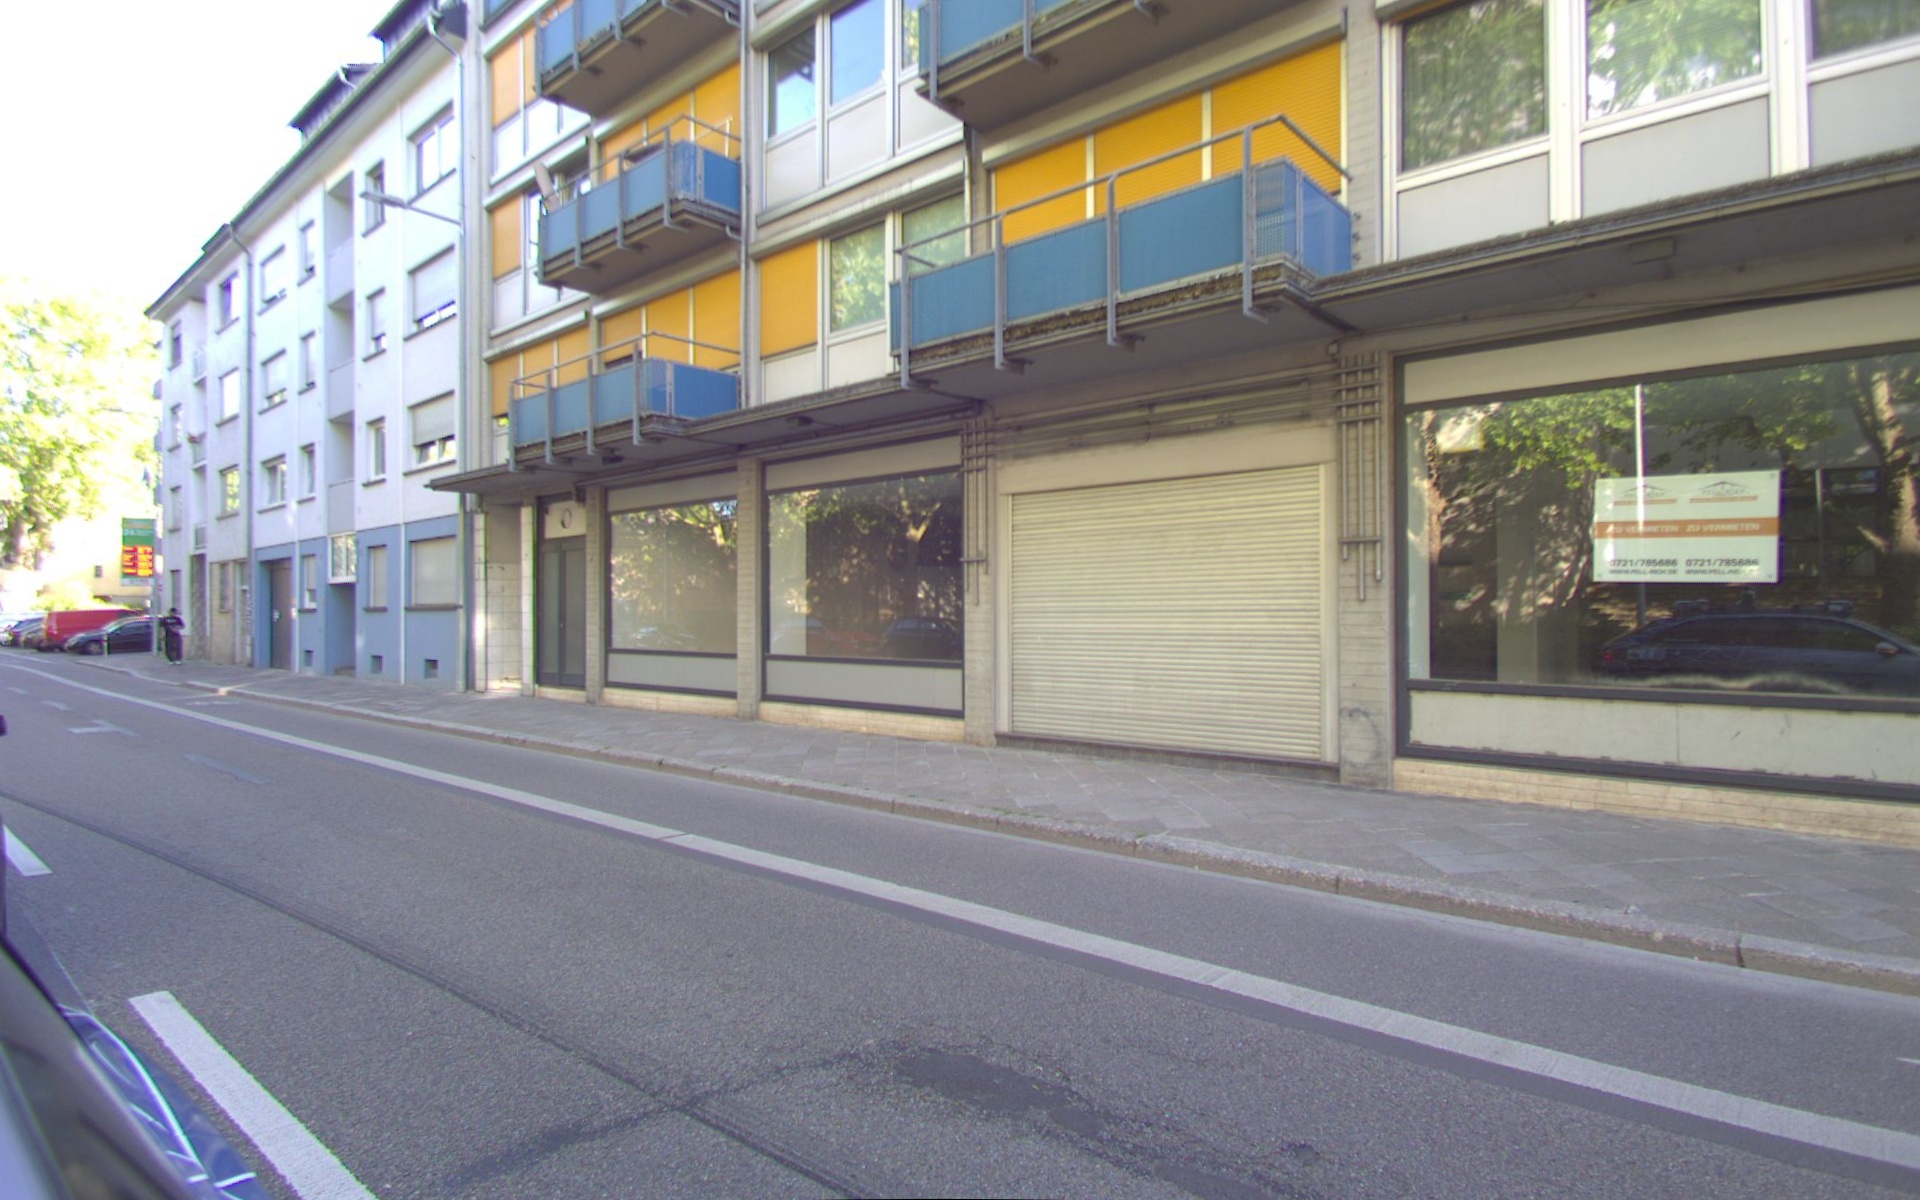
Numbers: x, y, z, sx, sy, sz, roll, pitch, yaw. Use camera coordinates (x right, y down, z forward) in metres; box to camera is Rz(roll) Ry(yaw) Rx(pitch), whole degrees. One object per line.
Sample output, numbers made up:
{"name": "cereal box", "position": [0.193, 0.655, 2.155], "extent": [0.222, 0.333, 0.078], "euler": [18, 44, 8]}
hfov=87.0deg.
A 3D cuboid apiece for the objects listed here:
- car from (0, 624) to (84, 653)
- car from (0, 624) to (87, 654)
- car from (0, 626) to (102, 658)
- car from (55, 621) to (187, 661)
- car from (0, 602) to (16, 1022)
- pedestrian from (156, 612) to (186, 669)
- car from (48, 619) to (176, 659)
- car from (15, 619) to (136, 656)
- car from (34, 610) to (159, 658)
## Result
{"name": "car", "position": [-55.876, 2.300, 61.197], "extent": [1.652, 1.480, 4.201], "euler": [-1, 1, 41]}
{"name": "car", "position": [-54.494, 2.280, 59.789], "extent": [1.652, 1.480, 4.201], "euler": [-1, 1, 41]}
{"name": "car", "position": [-50.461, 2.293, 56.104], "extent": [1.652, 1.480, 4.201], "euler": [-1, 1, 41]}
{"name": "car", "position": [-36.492, 1.743, 44.092], "extent": [1.652, 1.411, 4.201], "euler": [-1, 1, 41]}
{"name": "car", "position": [-5.641, 0.796, 4.403], "extent": [4.300, 1.510, 1.826], "euler": [-1, -1, 41]}
{"name": "pedestrian", "position": [-24.202, 1.224, 31.033], "extent": [0.655, 1.708, 0.604], "euler": [-2, -1, 41]}
{"name": "car", "position": [-38.185, 1.730, 45.656], "extent": [1.652, 1.480, 4.201], "euler": [-1, 1, 41]}
{"name": "car", "position": [-42.754, 1.790, 49.013], "extent": [1.652, 1.480, 4.201], "euler": [-1, 1, 41]}
{"name": "car", "position": [-40.566, 1.558, 47.618], "extent": [1.817, 1.933, 4.202], "euler": [-2, 1, 40]}
